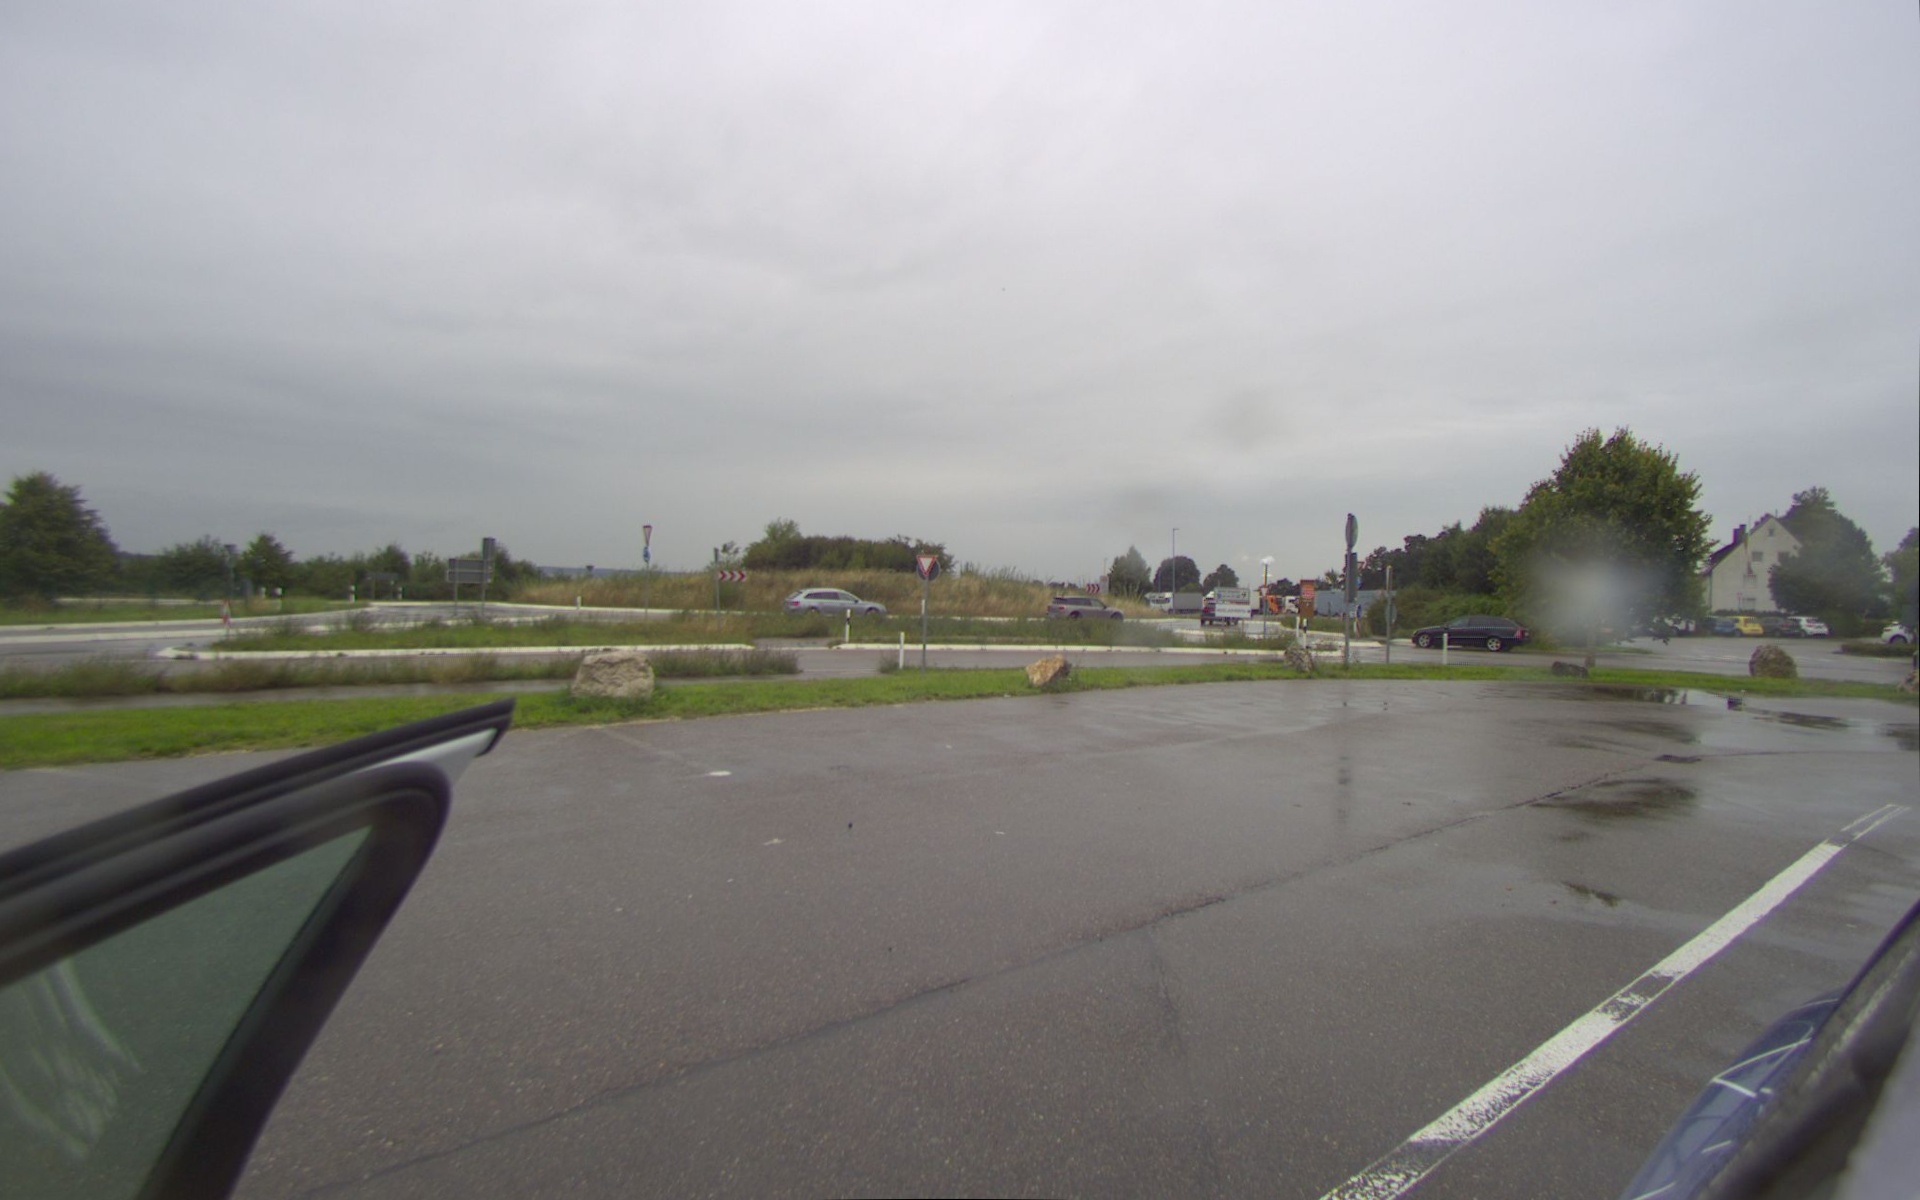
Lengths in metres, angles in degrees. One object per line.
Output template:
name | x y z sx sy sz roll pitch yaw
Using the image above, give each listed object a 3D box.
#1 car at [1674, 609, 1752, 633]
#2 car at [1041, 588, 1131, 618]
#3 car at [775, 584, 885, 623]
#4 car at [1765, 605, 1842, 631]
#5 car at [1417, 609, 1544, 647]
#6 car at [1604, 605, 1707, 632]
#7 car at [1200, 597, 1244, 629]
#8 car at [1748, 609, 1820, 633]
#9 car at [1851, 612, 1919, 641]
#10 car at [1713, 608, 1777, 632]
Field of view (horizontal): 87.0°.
car | 52.751 1.435 71.050 1.962 1.570 4.648 1 -1 -1
car | 6.230 0.119 50.023 4.224 1.340 1.759 0 3 -31
car | -5.916 0.163 45.960 4.564 1.500 2.005 2 1 -21
car | 59.852 1.279 71.880 1.951 1.750 4.003 1 0 -4
car | 21.315 1.111 41.561 1.678 1.443 4.349 1 0 -44
car | 46.122 1.207 67.239 1.966 1.744 5.366 2 -1 -42
car | 16.475 0.767 63.519 1.873 1.704 4.632 3 3 25
car | 57.827 1.429 71.110 1.715 1.590 3.891 1 0 -3
car | 51.334 1.452 54.930 1.819 1.443 4.350 1 0 -44
car | 55.252 1.384 71.312 1.635 1.569 3.724 1 0 2
